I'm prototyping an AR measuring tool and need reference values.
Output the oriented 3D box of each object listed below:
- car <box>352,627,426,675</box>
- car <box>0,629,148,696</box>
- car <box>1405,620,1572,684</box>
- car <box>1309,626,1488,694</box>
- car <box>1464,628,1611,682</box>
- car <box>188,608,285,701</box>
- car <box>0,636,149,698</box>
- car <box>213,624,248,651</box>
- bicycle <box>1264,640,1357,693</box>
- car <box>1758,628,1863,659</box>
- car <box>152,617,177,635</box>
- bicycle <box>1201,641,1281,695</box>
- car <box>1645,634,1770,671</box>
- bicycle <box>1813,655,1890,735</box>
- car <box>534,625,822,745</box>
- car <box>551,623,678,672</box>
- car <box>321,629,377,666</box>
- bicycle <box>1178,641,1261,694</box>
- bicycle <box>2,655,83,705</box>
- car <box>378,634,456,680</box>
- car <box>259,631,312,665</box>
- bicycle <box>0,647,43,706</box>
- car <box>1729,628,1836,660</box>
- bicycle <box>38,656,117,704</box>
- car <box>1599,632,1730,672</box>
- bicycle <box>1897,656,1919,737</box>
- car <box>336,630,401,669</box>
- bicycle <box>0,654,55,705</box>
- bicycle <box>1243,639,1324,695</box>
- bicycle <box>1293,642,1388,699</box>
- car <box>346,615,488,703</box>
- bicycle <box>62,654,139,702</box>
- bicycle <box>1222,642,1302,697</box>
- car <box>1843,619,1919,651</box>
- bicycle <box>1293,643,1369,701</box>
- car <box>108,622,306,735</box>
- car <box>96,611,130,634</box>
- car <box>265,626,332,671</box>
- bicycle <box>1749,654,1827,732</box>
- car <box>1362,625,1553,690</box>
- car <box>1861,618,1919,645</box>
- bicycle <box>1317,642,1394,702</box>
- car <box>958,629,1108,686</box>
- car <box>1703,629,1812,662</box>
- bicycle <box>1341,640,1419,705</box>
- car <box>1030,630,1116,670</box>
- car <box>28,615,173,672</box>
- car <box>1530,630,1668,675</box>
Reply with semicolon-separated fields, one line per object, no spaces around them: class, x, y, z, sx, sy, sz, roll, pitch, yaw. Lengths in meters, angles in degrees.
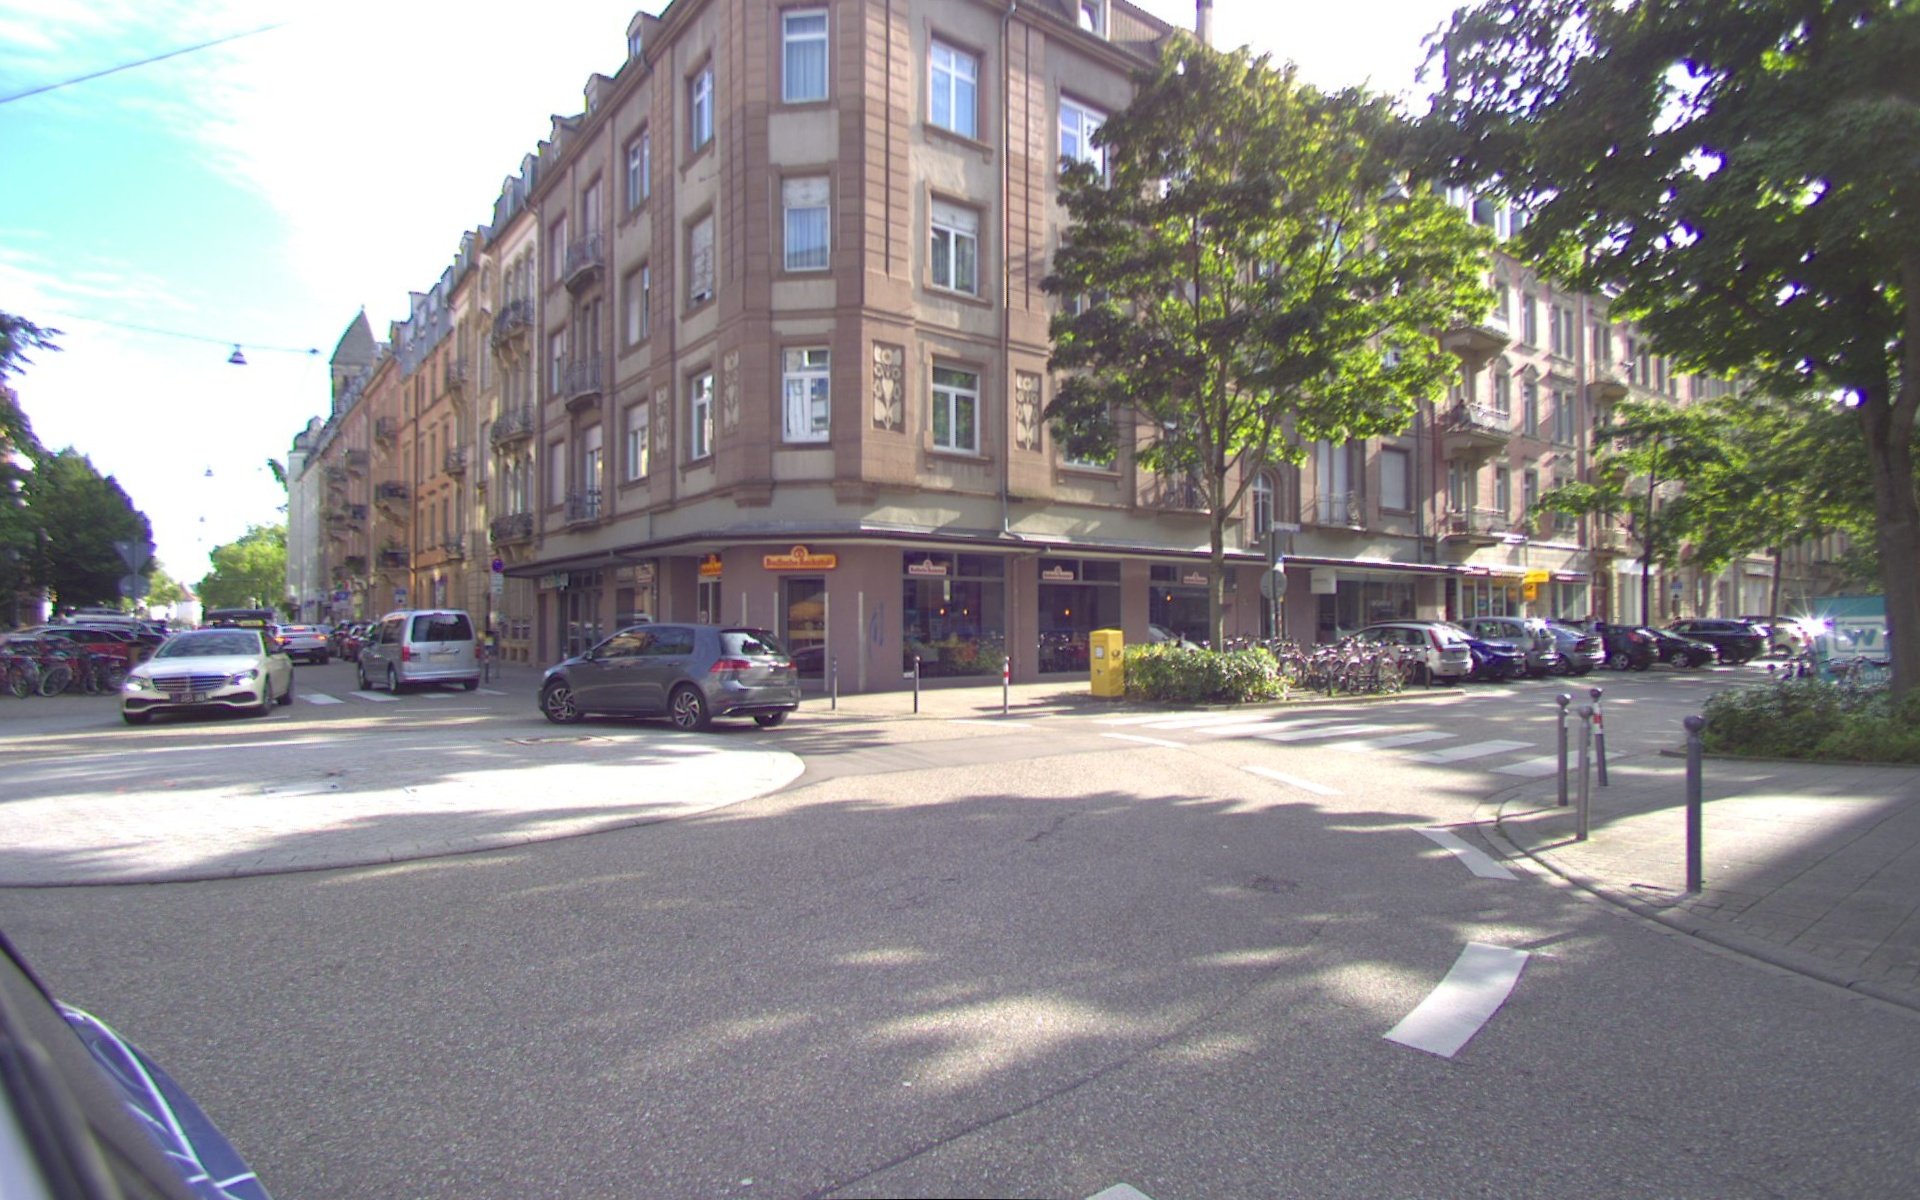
car;-21.410;1.853;37.866;1.832;1.596;4.408;-1;-1;-37
car;-23.233;1.586;25.837;1.507;1.628;3.552;-1;-4;29
car;14.360;1.387;27.677;1.551;1.608;3.707;-1;-1;-37
car;10.634;1.414;24.739;1.551;1.488;3.707;-1;-1;-37
car;16.344;1.543;28.757;1.354;1.454;3.346;3;-3;-37
car;-17.673;1.287;24.811;1.764;2.079;4.010;1;-2;-35
car;-21.619;1.562;23.848;1.506;1.391;3.555;-1;-4;27
car;-54.597;2.806;75.720;1.914;1.894;4.845;-1;-1;-39
bicycle;7.883;1.474;22.684;2.472;1.110;0.710;1;-3;-38
car;38.122;1.935;45.412;1.383;1.326;3.346;3;-3;-37
car;-87.109;2.857;110.891;1.967;1.903;4.009;-1;-1;-36
bicycle;6.359;1.517;22.817;2.393;1.143;0.479;1;-2;-41
car;26.823;1.860;36.376;1.354;1.263;3.346;3;-3;-37
bicycle;12.833;1.335;14.549;2.045;1.038;0.592;1;-4;-44
car;-4.010;1.130;14.205;3.990;1.449;1.776;-2;-4;35
car;-12.692;1.716;37.319;2.000;1.633;3.943;-3;-1;43
car;-28.245;2.185;46.729;1.734;1.610;4.351;1;-2;-37
bicycle;5.986;1.530;23.255;2.393;1.143;0.580;1;-2;-41
bicycle;-19.739;1.701;21.765;1.852;0.993;0.468;0;-3;22
car;-18.210;1.864;33.883;1.697;1.379;3.837;-1;-1;-37
car;-30.952;2.151;46.384;1.742;1.392;4.461;-2;0;-37
bicycle;-19.826;1.563;20.937;1.826;1.152;0.472;0;-3;22
car;35.771;1.921;44.079;1.383;1.326;3.346;3;-3;-37
bicycle;-19.515;1.751;22.373;1.852;0.993;0.468;0;-3;22
car;23.687;1.741;34.110;1.354;1.263;3.346;3;-3;-37
bicycle;13.458;1.306;13.960;2.045;1.019;0.592;1;-4;-44
car;-24.482;2.019;41.839;1.735;1.508;4.141;-1;-1;-39
bicycle;-19.904;1.659;21.326;1.826;0.993;0.415;0;-3;22
bicycle;7.060;1.436;22.029;2.393;1.143;0.479;1;-2;-41
bicycle;8.327;1.518;22.091;2.472;1.110;0.652;0;-2;-37
car;-12.455;1.295;23.085;1.807;1.804;4.335;1;-3;-43
bicycle;-19.353;1.746;22.791;1.852;0.993;0.468;0;-3;22
bicycle;6.704;1.505;22.403;2.393;1.143;0.479;1;-2;-41
car;49.496;1.842;53.915;1.570;1.605;3.367;-1;-1;-36
bicycle;7.844;1.484;21.338;2.228;1.143;0.479;1;-2;-41
car;-12.800;1.227;17.539;1.911;1.609;4.852;-1;-1;-27
car;-67.841;1.818;81.035;1.823;1.747;4.004;0;-1;-43
car;-26.354;1.909;40.238;1.967;1.647;4.854;0;-2;-37
bicycle;12.409;1.357;15.143;2.109;1.038;0.592;1;-4;-44
car;12.600;1.413;25.856;1.551;1.488;4.083;-1;-1;-37
car;53.325;1.762;56.923;1.778;1.483;3.721;-1;-1;-42
bicycle;8.203;1.454;20.942;2.255;1.166;0.479;1;-2;-41
car;2.011;1.594;28.606;4.000;1.441;1.741;-3;-1;43
car;33.384;1.894;42.426;1.383;1.326;3.346;3;-3;-37
bicycle;8.533;1.433;20.519;2.257;1.234;0.479;1;-2;-41
car;4.987;2.187;44.588;3.573;1.578;1.582;-1;-1;-36
car;-39.222;1.937;46.320;1.985;2.441;4.708;-2;-1;20
car;19.836;1.618;31.524;1.354;1.342;3.346;3;-3;-37
